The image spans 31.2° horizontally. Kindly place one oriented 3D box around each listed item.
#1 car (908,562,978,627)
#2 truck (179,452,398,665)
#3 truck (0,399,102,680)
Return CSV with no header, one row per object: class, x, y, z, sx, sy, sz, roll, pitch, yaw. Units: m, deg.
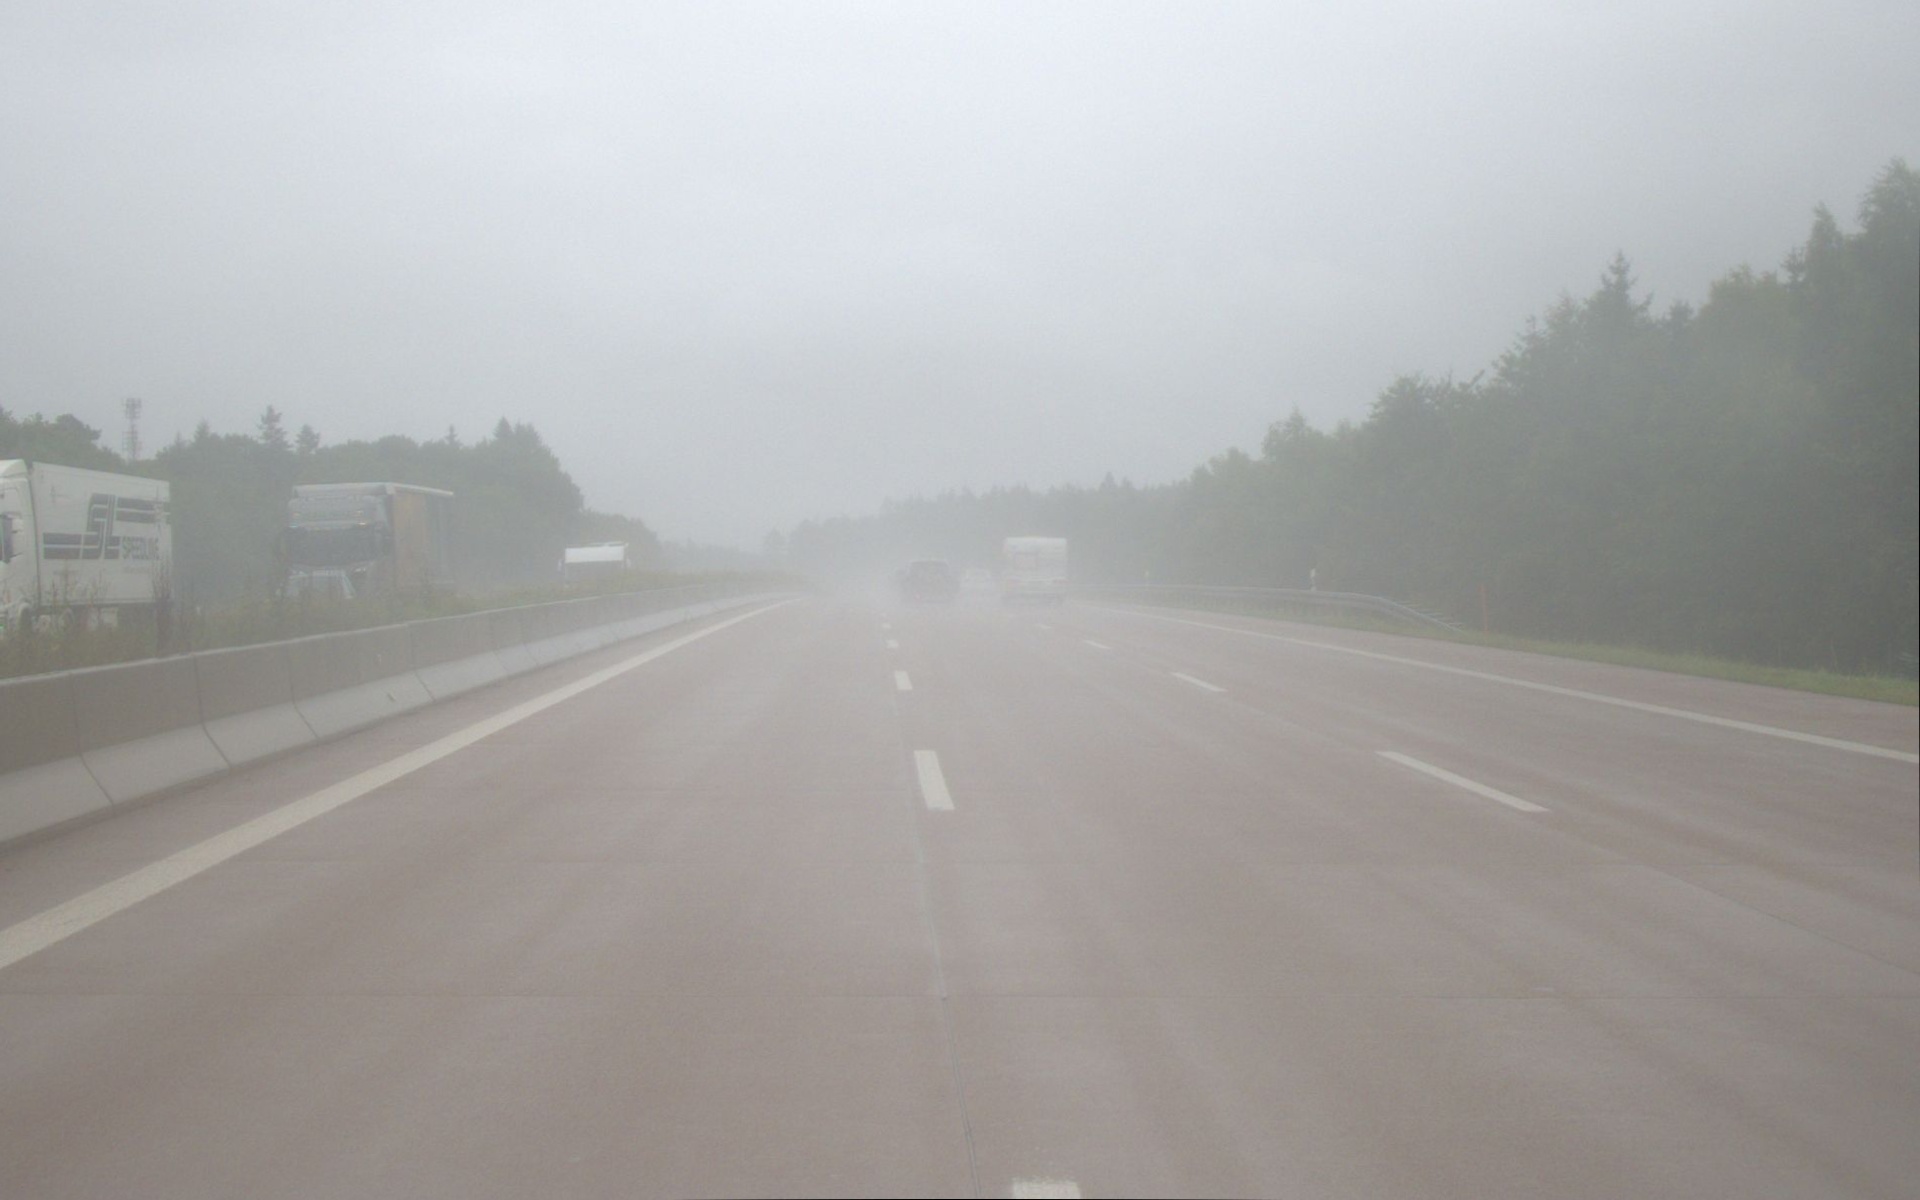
car,-0.585,-0.187,113.371,2.173,1.974,4.130,3,1,-1
truck,-16.593,-1.029,85.677,3.925,4.997,8.953,1,1,-2
truck,-19.999,-1.215,69.541,3.419,5.360,8.158,1,1,-2
